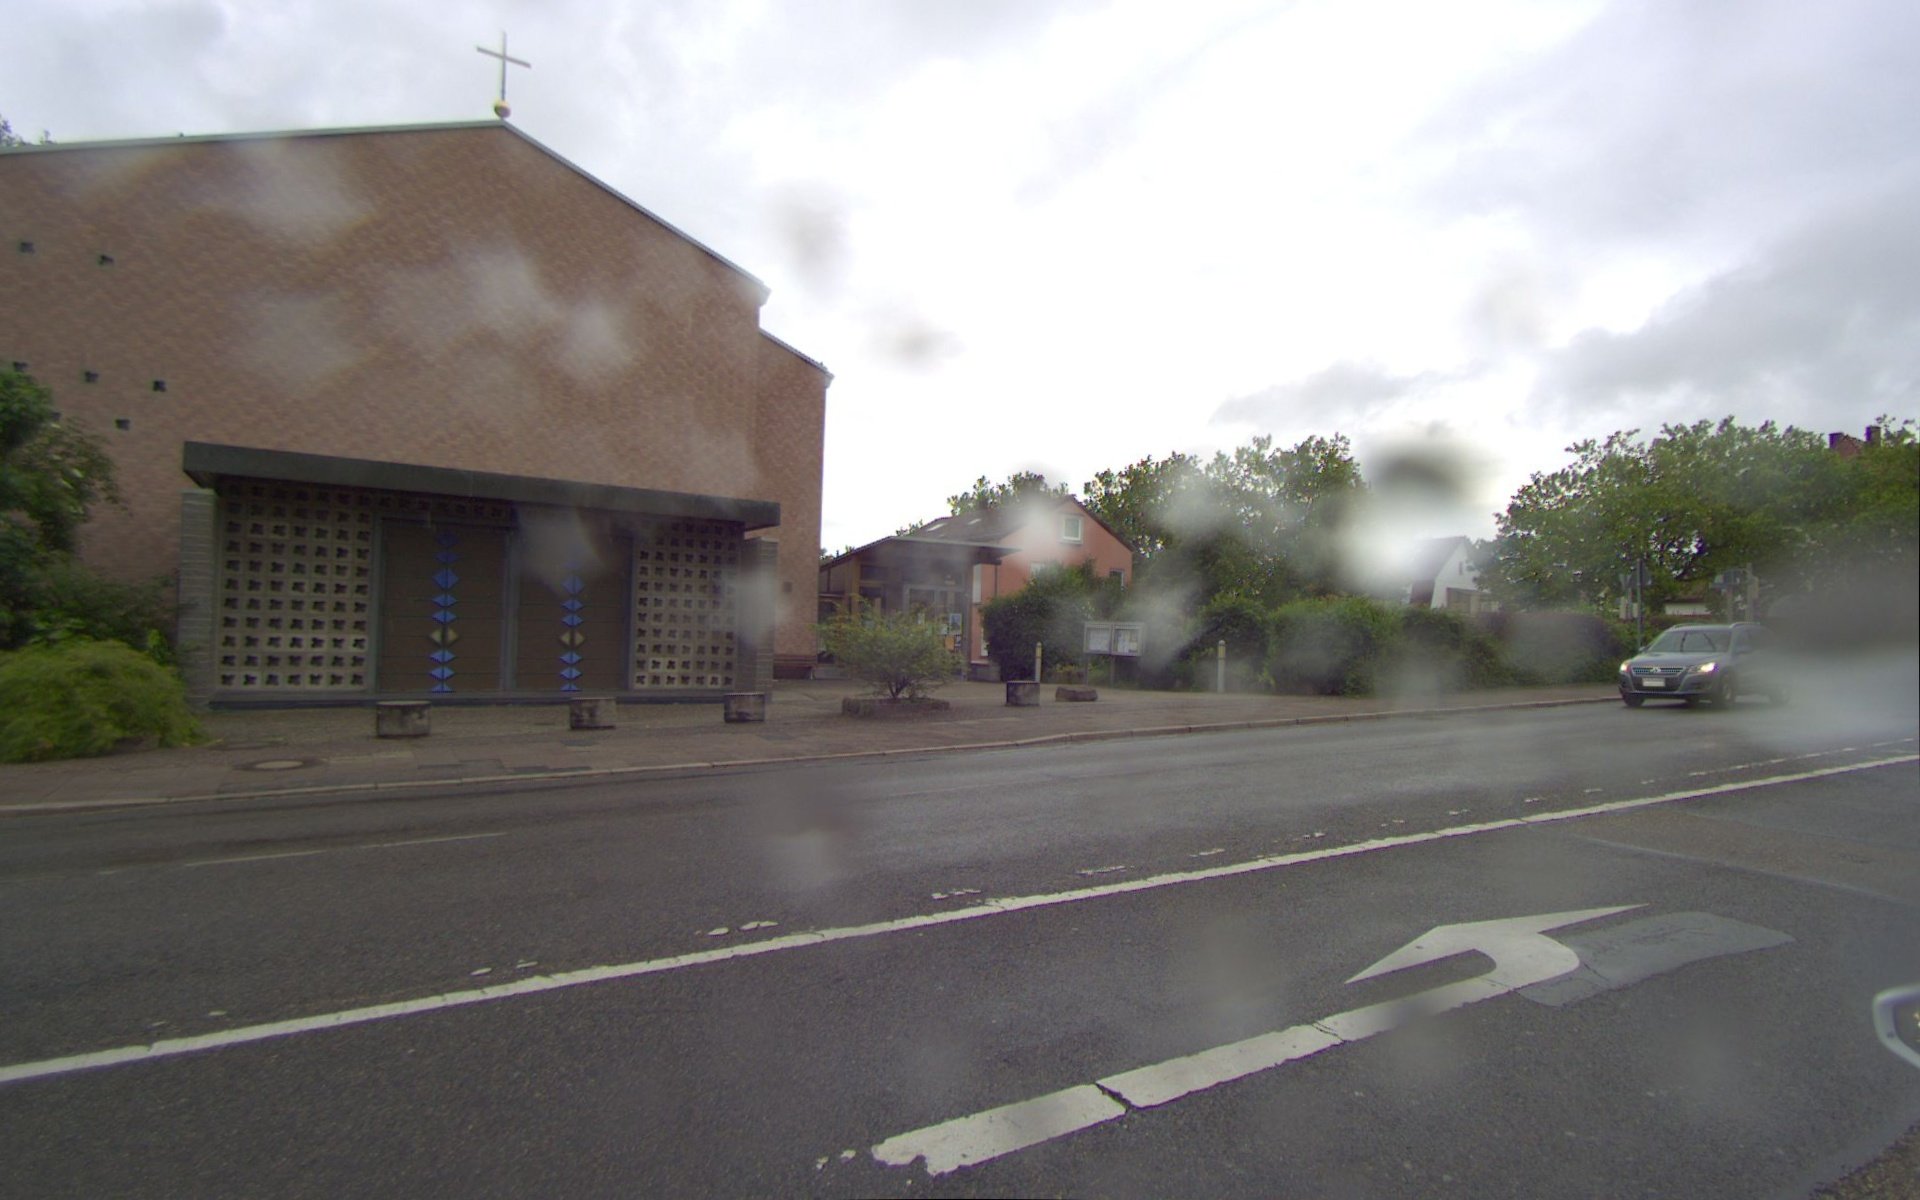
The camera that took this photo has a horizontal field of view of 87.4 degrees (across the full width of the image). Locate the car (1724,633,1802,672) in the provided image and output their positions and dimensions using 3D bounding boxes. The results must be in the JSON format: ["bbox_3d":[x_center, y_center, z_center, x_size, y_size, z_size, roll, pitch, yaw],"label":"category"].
[{"bbox_3d":[39.299,2.523,49.147,3.955,1.573,1.798,-3,2,-32],"label":"car"}]

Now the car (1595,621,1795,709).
[{"bbox_3d":[14.985,1.276,20.431,4.271,1.611,1.897,1,-2,-33],"label":"car"}]
